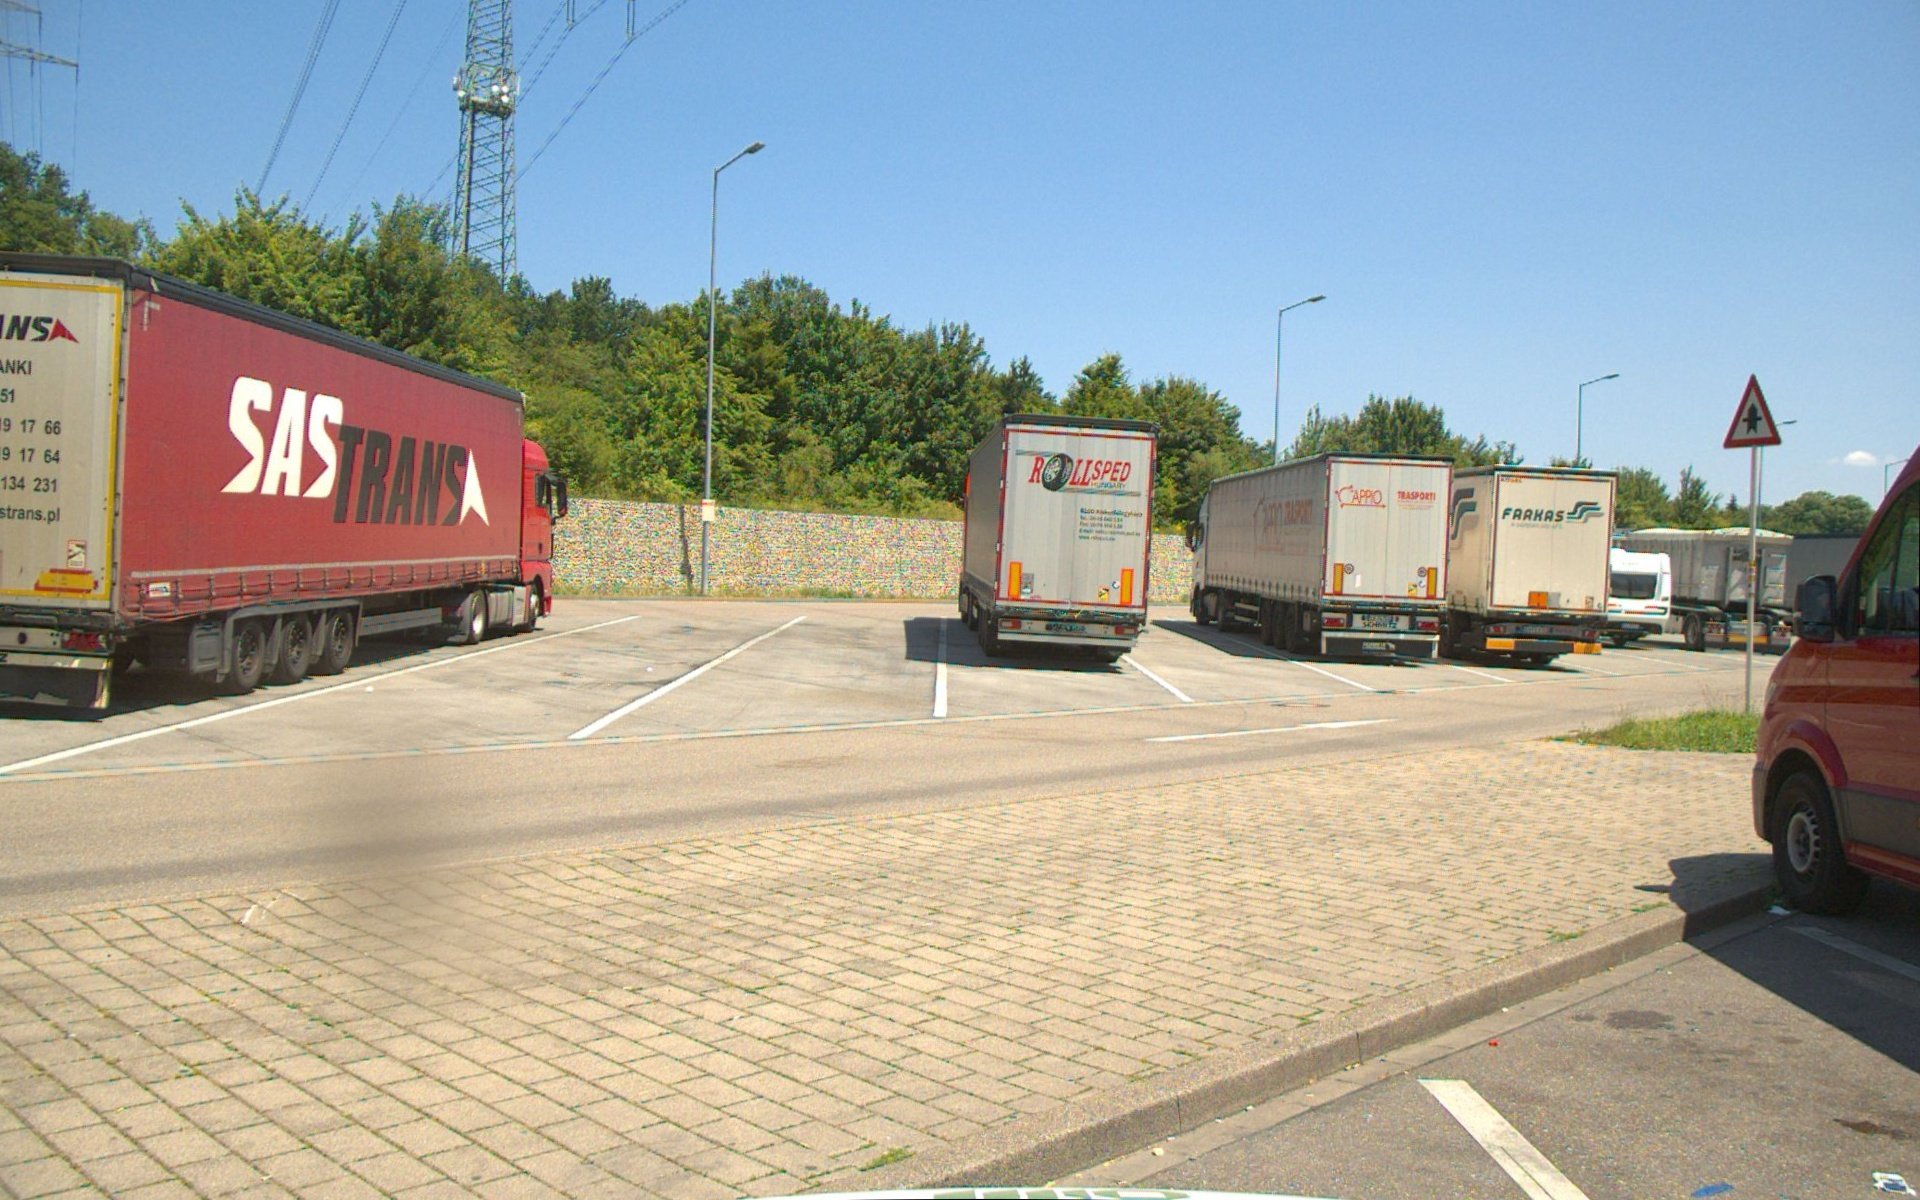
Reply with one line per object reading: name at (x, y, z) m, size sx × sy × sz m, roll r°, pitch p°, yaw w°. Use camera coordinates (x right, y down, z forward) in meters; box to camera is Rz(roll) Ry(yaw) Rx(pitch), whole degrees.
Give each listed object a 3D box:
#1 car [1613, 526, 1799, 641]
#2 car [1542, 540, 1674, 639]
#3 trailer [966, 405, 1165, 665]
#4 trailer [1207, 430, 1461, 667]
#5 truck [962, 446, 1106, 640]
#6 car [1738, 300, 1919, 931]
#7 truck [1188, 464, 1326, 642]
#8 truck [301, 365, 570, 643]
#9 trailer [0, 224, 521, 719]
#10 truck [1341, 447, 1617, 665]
car at (21.704, -0.511, 48.505) m, size 2.448 × 3.128 × 6.350 m, roll 1°, pitch 1°, yaw -1°
car at (18.239, -0.283, 46.746) m, size 2.072 × 2.645 × 3.999 m, roll 1°, pitch 0°, yaw -1°
trailer at (1.696, -1.134, 31.948) m, size 2.838 × 4.083 × 11.315 m, roll 1°, pitch 1°, yaw -1°
trailer at (8.180, -1.110, 38.340) m, size 2.627 × 4.530 × 12.826 m, roll 1°, pitch 1°, yaw -1°
truck at (1.568, -1.252, 37.808) m, size 2.813 × 4.050 × 6.028 m, roll 1°, pitch 1°, yaw -2°
car at (4.983, 0.098, 5.568) m, size 1.952 × 2.679 × 6.385 m, roll 1°, pitch 1°, yaw 3°
truck at (8.026, -1.262, 45.384) m, size 2.607 × 4.530 × 5.863 m, roll 1°, pitch 1°, yaw -1°
truck at (-8.719, -1.521, 28.247) m, size 2.749 × 4.205 × 5.893 m, roll 1°, pitch 1°, yaw -1°
trailer at (-8.633, -1.247, 20.992) m, size 2.743 × 4.293 × 13.200 m, roll 1°, pitch 1°, yaw -1°
truck at (11.720, -0.847, 38.936) m, size 2.534 × 4.299 × 11.967 m, roll 1°, pitch 0°, yaw -1°
